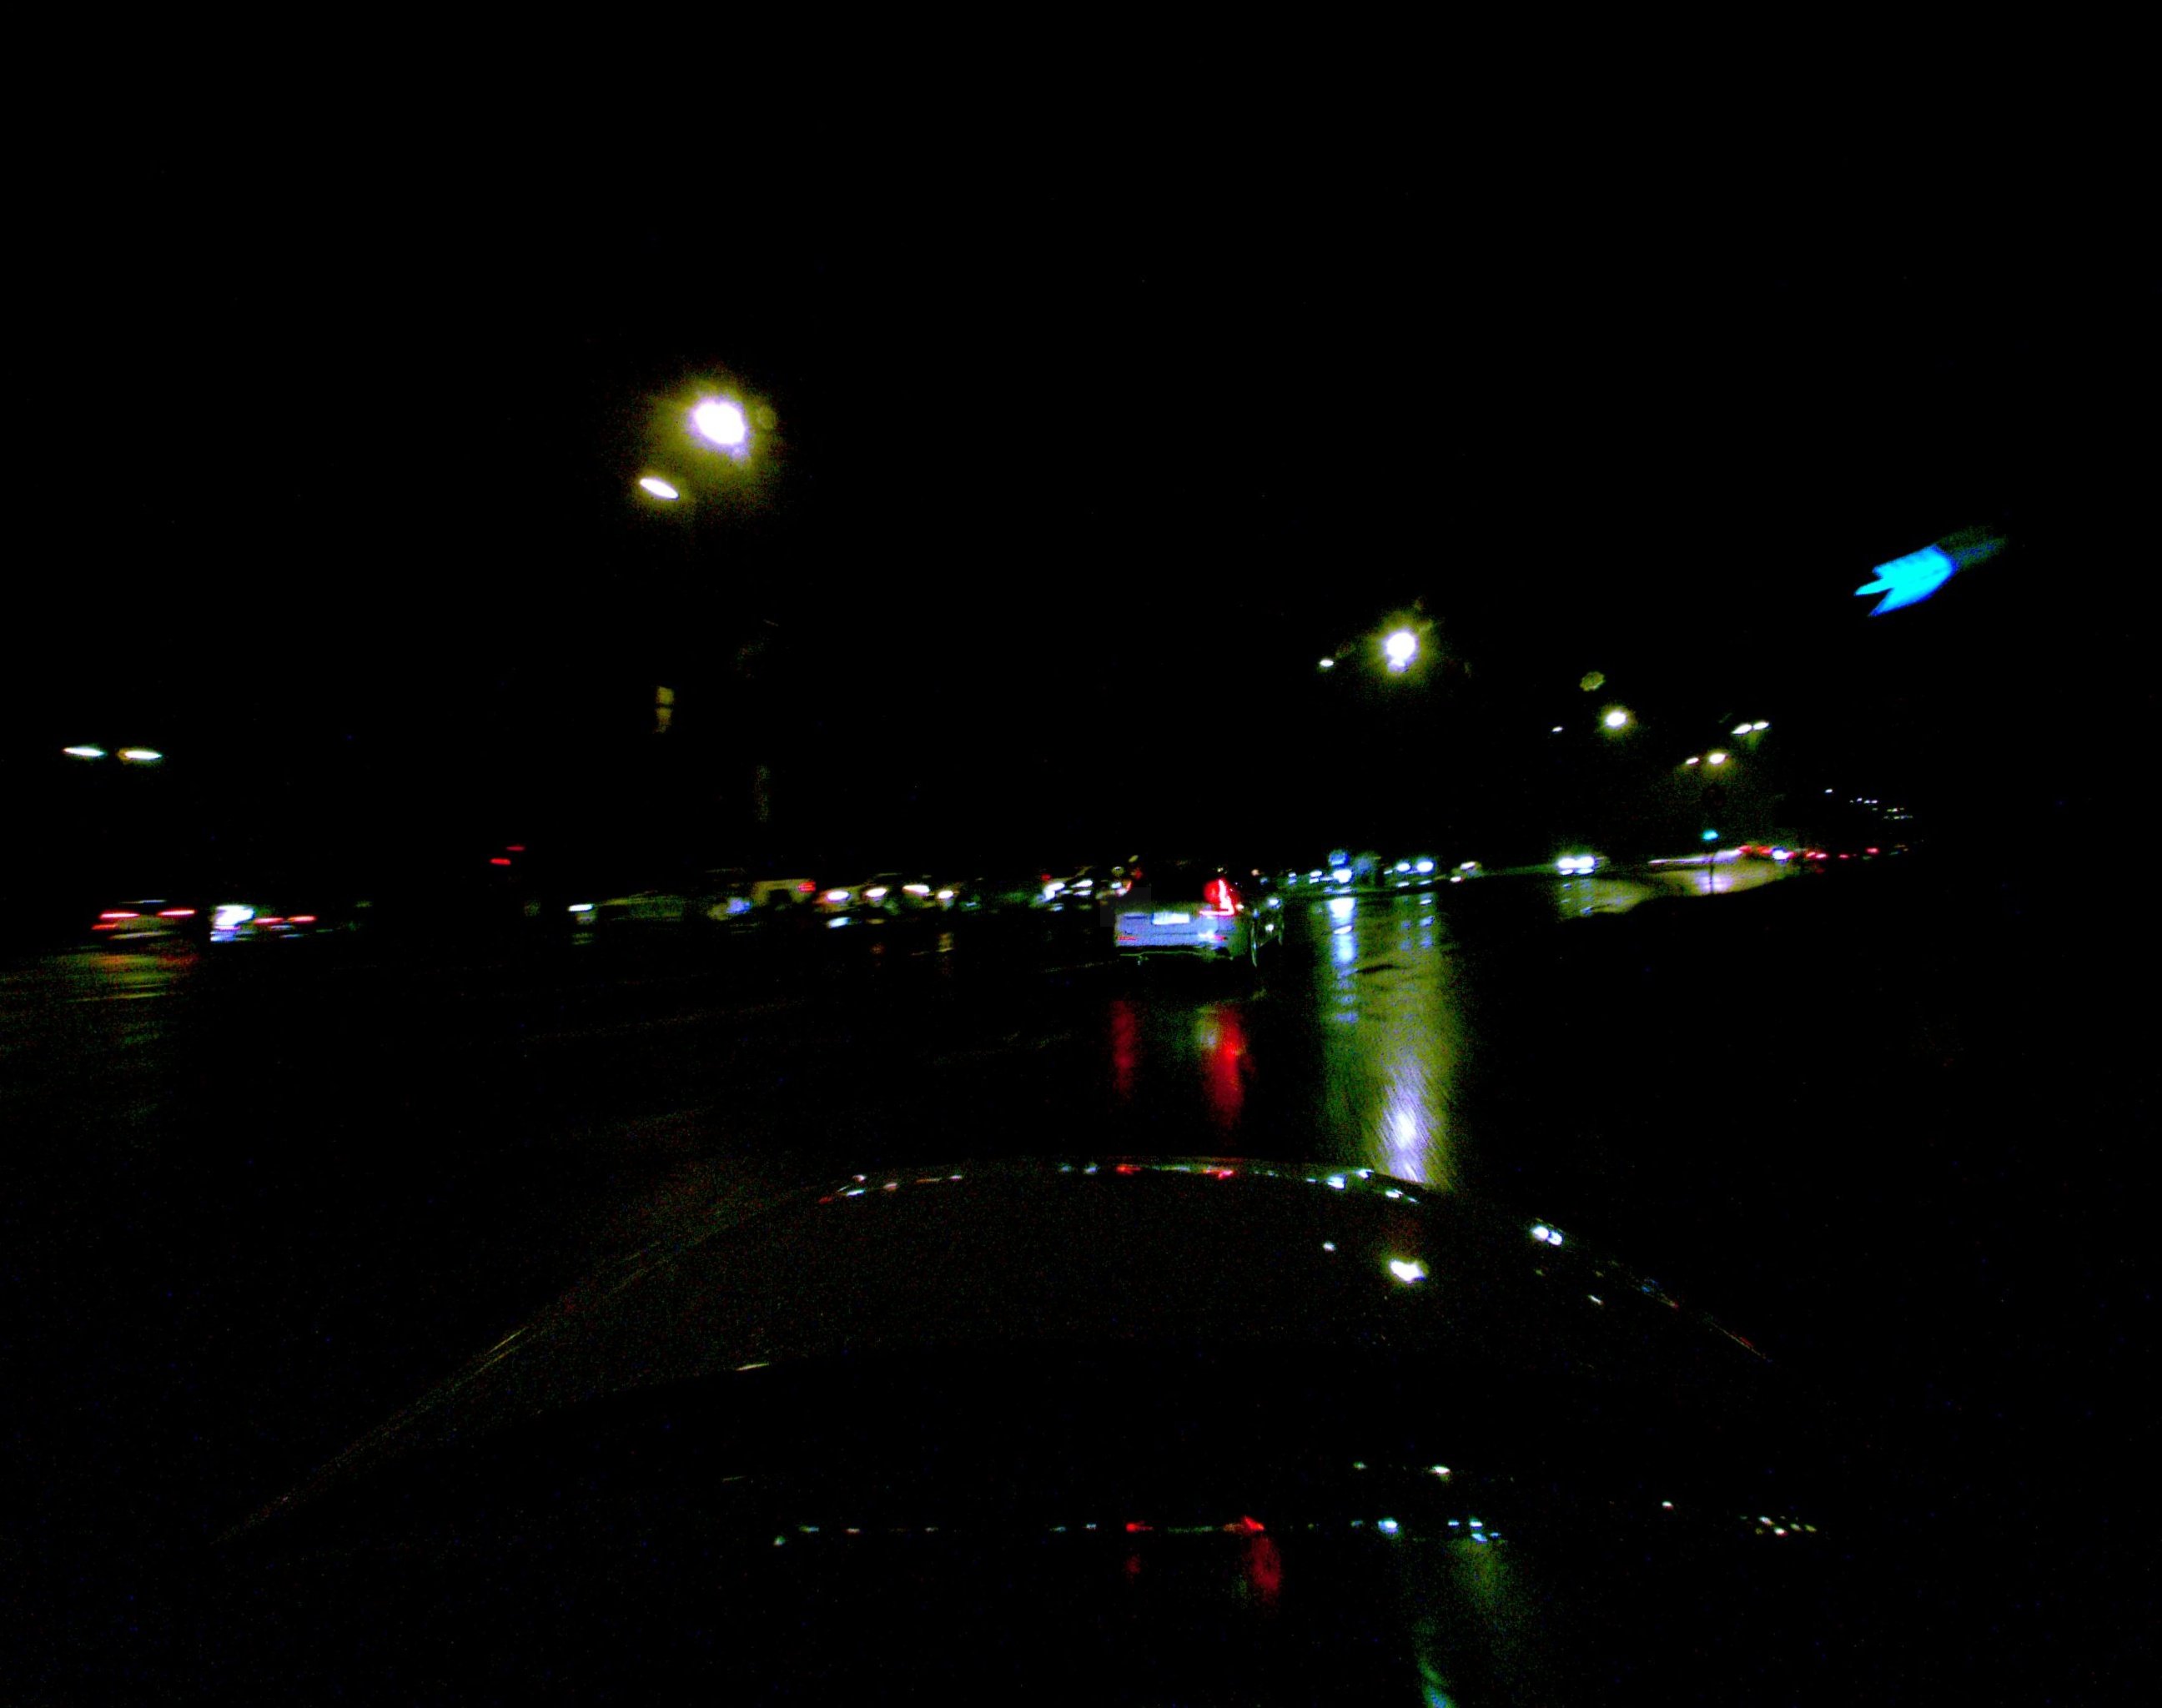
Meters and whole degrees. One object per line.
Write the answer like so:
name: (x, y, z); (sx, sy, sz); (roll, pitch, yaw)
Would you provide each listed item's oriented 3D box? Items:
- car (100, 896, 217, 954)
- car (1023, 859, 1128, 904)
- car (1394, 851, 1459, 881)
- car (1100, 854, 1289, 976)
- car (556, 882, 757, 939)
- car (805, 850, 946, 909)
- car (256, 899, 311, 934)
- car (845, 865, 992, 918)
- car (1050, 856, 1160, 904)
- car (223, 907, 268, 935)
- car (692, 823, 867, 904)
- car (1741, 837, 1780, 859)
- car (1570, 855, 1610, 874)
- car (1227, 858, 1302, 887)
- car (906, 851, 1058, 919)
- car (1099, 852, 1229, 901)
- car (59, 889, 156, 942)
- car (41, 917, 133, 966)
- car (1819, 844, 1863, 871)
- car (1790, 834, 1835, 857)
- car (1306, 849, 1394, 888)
car: (-28.828, 2.151, 25.589); (1.866, 1.592, 3.975); (1, -2, -41)
car: (-0.186, 1.144, 34.163); (4.273, 1.799, 1.782); (1, -3, -42)
car: (20.459, 0.723, 48.122); (4.511, 1.666, 1.783); (2, -2, -42)
car: (1.868, 0.749, 12.043); (1.781, 1.452, 4.291); (-1, -1, 22)
car: (-12.063, 1.541, 23.358); (4.828, 1.427, 1.744); (1, -2, -41)
car: (-6.962, 0.871, 27.881); (4.307, 1.848, 1.744); (2, -2, -42)
car: (-43.802, 3.395, 44.805); (1.843, 1.653, 4.427); (2, -2, -41)
car: (-4.921, 1.118, 24.907); (4.077, 1.487, 1.698); (1, -2, -38)
car: (0.945, 0.970, 30.650); (3.998, 1.666, 1.782); (1, -3, -42)
car: (-57.484, 4.595, 56.082); (1.844, 1.640, 3.952); (3, -2, -42)
car: (-10.839, 0.414, 29.403); (5.623, 2.710, 2.235); (2, -2, -29)
car: (58.535, -0.502, 70.143); (4.022, 1.601, 2.158); (2, 1, -44)
car: (43.955, 0.916, 70.305); (4.455, 1.531, 1.867); (2, -2, -43)
car: (9.623, 0.944, 42.518); (4.062, 1.377, 1.744); (-1, -1, -42)
car: (-2.755, 0.820, 23.010); (3.921, 1.725, 1.745); (-1, -1, -40)
car: (2.886, 0.739, 27.699); (4.435, 1.484, 1.761); (-1, -3, -41)
car: (-45.881, 2.839, 38.492); (1.788, 2.078, 3.960); (1, 1, -33)
car: (-39.766, 3.444, 32.682); (1.927, 1.658, 3.936); (0, -2, -45)
car: (51.889, 0.263, 55.566); (4.022, 1.601, 1.893); (2, 1, -43)
car: (60.505, -0.704, 67.357); (4.020, 1.601, 2.159); (2, 1, -41)
car: (12.034, 0.636, 36.364); (4.330, 1.578, 1.796); (-1, -2, -43)
